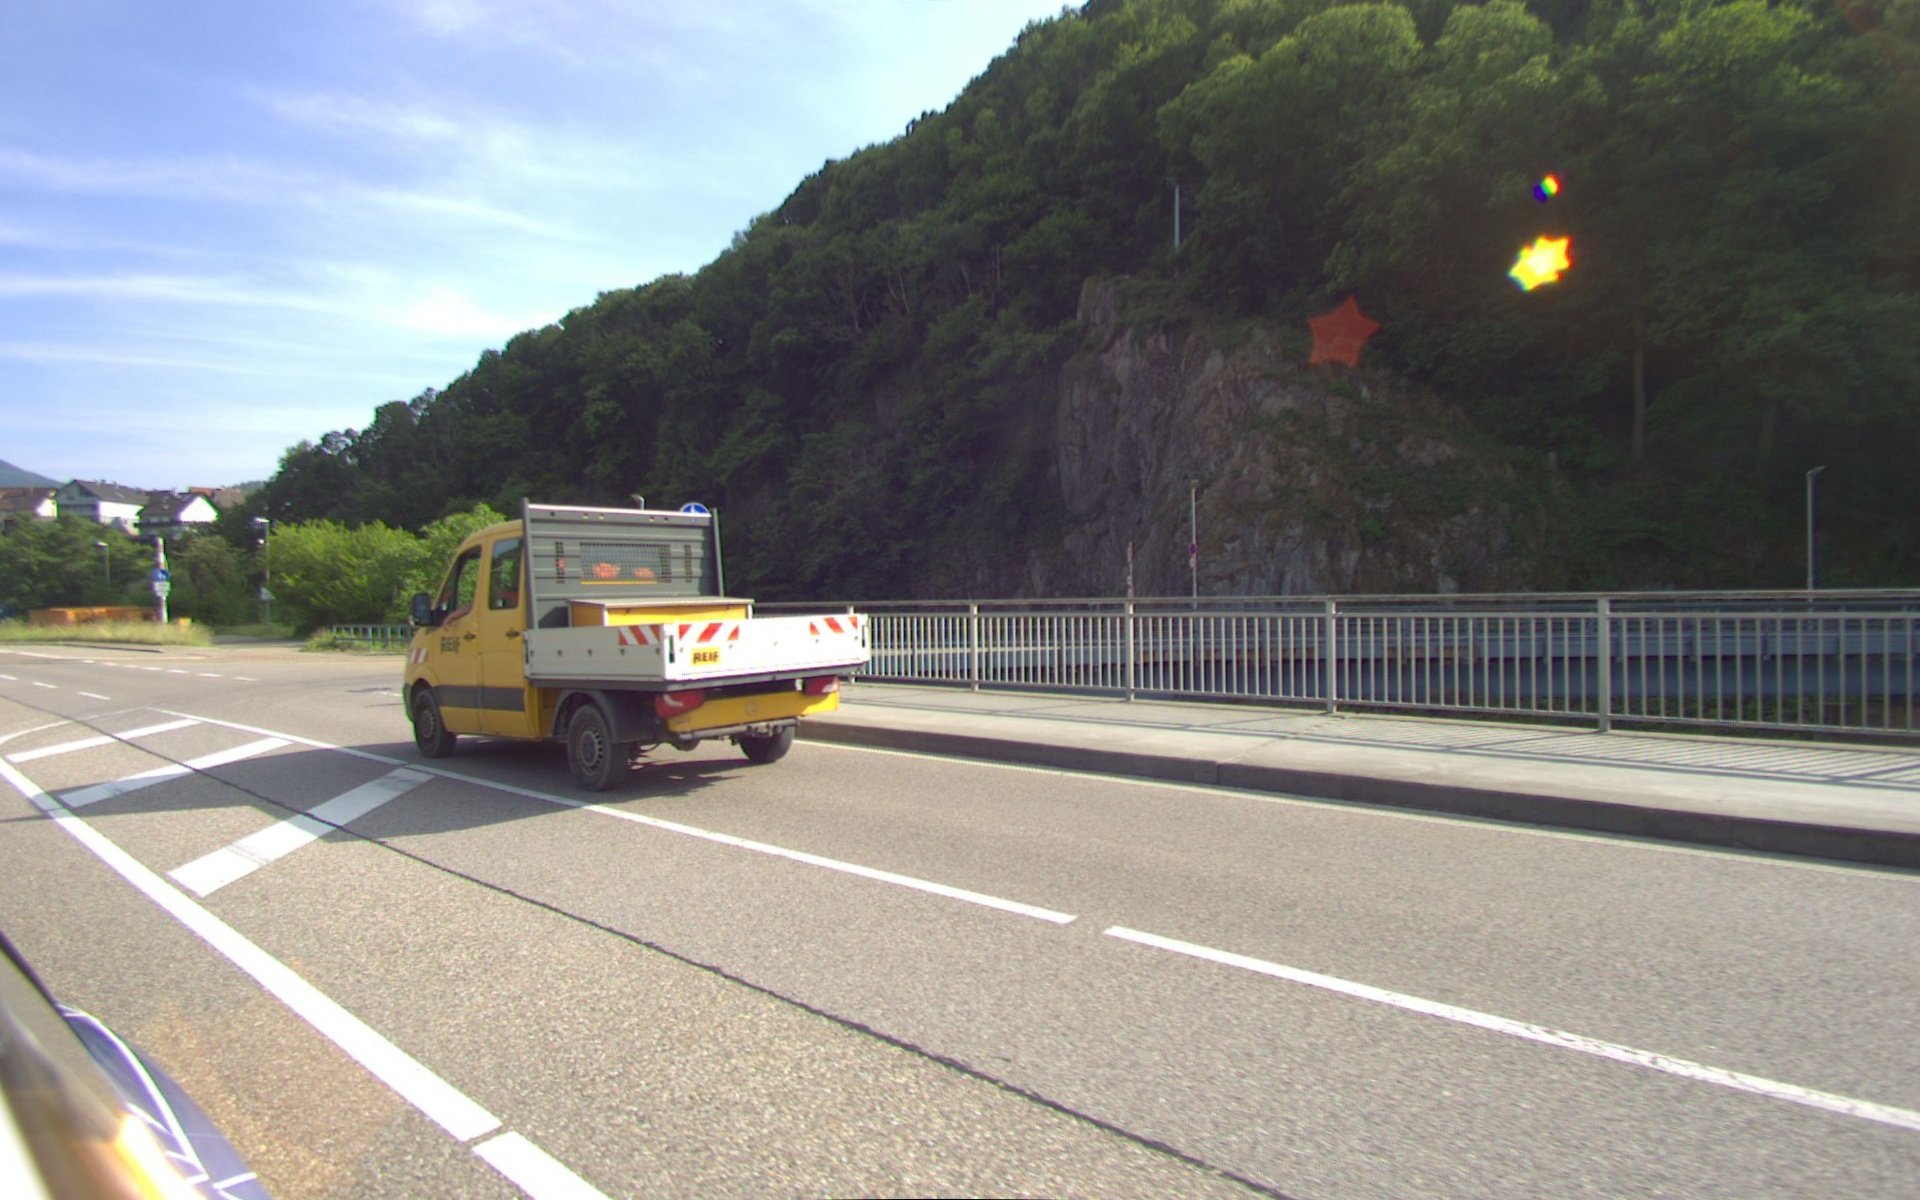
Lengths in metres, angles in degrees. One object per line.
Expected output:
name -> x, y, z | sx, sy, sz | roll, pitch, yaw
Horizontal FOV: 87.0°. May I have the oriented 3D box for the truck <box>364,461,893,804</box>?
truck -> -3.501, 0.252, 9.818 | 5.851, 2.405, 2.142 | -1, 0, 41
